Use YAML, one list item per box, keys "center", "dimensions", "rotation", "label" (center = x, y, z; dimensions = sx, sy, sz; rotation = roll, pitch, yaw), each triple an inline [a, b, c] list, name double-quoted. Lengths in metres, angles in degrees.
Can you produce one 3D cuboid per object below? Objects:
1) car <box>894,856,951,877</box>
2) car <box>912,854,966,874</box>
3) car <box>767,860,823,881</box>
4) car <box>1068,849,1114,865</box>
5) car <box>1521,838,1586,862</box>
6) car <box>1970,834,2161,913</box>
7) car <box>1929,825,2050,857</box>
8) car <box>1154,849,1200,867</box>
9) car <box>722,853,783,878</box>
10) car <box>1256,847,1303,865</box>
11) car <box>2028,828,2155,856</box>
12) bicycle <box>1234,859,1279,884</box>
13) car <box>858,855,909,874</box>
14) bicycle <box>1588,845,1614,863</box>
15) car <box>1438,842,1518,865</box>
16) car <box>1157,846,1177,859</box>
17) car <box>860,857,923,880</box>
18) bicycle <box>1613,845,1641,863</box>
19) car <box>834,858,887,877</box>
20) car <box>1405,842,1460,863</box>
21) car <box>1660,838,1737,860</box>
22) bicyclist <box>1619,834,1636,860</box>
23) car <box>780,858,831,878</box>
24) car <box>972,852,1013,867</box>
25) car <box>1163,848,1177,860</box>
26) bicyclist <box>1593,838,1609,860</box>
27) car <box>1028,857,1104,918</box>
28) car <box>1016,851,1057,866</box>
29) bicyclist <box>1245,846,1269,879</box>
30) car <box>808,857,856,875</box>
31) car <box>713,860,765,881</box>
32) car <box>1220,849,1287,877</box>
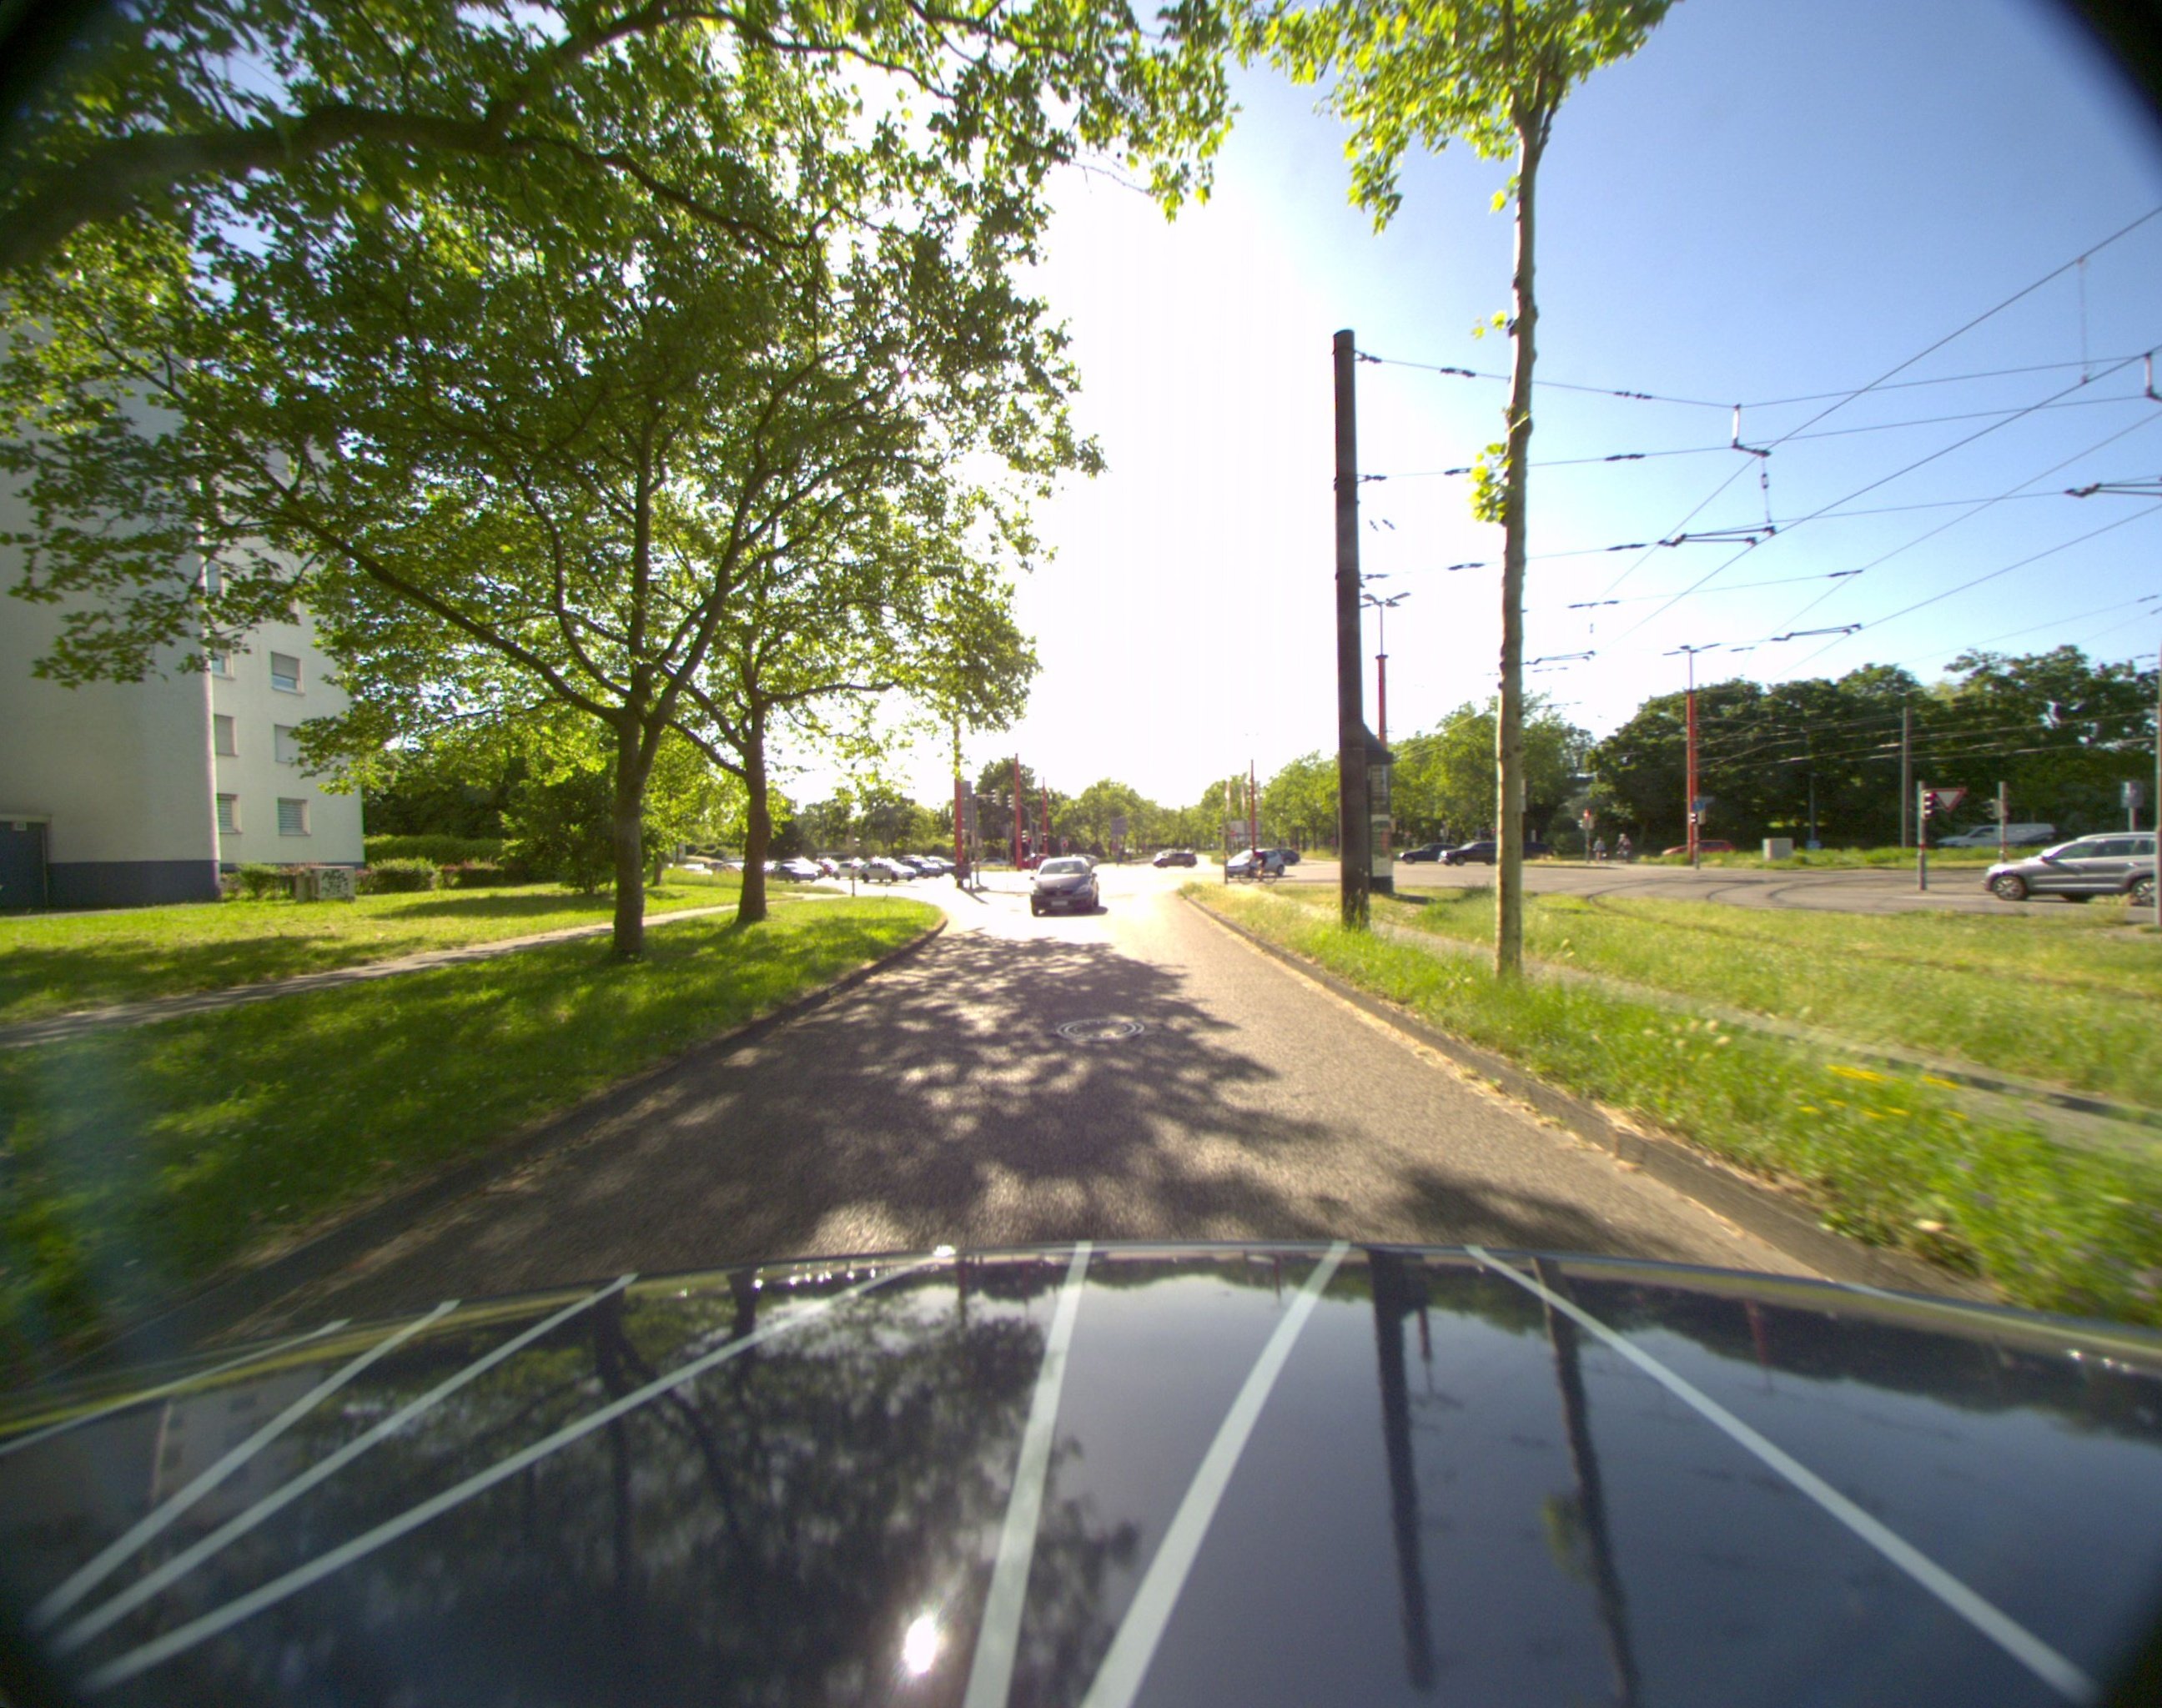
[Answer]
- center: [-12.185, 0.930, 58.272]
  dimensions: [3.989, 1.473, 1.803]
  rotation: [-1, 2, 29]
  label: "car"
- center: [-11.538, 0.826, 61.810]
  dimensions: [3.989, 1.473, 1.803]
  rotation: [-1, 2, 29]
  label: "car"
- center: [-22.097, 1.272, 58.702]
  dimensions: [3.989, 1.502, 1.803]
  rotation: [-1, 2, 29]
  label: "car"
- center: [1.007, 0.270, 76.761]
  dimensions: [4.236, 1.501, 1.803]
  rotation: [-1, 0, 26]
  label: "car"
- center: [34.406, -0.255, 55.446]
  dimensions: [3.989, 1.645, 1.803]
  rotation: [-1, 0, 30]
  label: "car"
- center: [24.157, 0.399, 17.757]
  dimensions: [1.798, 1.668, 4.267]
  rotation: [-1, 0, 1]
  label: "car"
- center: [56.859, -0.781, 47.665]
  dimensions: [4.545, 1.825, 1.803]
  rotation: [-1, 0, 27]
  label: "car"
- center: [8.623, 0.367, 67.967]
  dimensions: [3.777, 1.501, 1.616]
  rotation: [-1, 0, 23]
  label: "car"
- center: [-29.336, 1.023, 67.831]
  dimensions: [5.180, 2.075, 2.095]
  rotation: [-1, 2, 29]
  label: "car"
- center: [17.752, 0.201, 67.907]
  dimensions: [3.776, 1.497, 1.616]
  rotation: [-1, 0, 27]
  label: "car"
- center: [58.035, -0.658, 43.744]
  dimensions: [3.990, 1.501, 1.803]
  rotation: [-1, 0, 27]
  label: "car"
- center: [8.178, 0.837, 35.364]
  dimensions: [1.896, 1.101, 0.704]
  rotation: [-2, 1, 24]
  label: "bicycle"
- center: [-16.916, 0.928, 65.155]
  dimensions: [3.989, 1.502, 1.803]
  rotation: [-1, 2, 29]
  label: "car"
- center: [33.570, 0.001, 49.053]
  dimensions: [0.499, 1.101, 1.800]
  rotation: [-1, 1, 3]
  label: "bicycle"
- center: [27.592, -0.037, 52.919]
  dimensions: [4.621, 1.501, 1.790]
  rotation: [-1, 0, 4]
  label: "car"
- center: [9.975, -0.175, 88.088]
  dimensions: [1.797, 1.501, 4.003]
  rotation: [-1, 0, 12]
  label: "car"
- center: [-13.650, 1.066, 54.742]
  dimensions: [4.274, 1.473, 1.803]
  rotation: [-1, 2, 29]
  label: "car"
- center: [34.675, -0.020, 48.244]
  dimensions: [0.562, 1.101, 1.800]
  rotation: [-1, 1, 3]
  label: "bicycle"
- center: [-17.717, 1.115, 61.024]
  dimensions: [3.989, 1.384, 1.803]
  rotation: [-1, 2, 29]
  label: "car"
- center: [28.688, -0.110, 62.008]
  dimensions: [3.990, 1.645, 1.803]
  rotation: [-1, 0, 27]
  label: "car"
- center: [44.094, -0.362, 54.391]
  dimensions: [3.990, 1.501, 1.803]
  rotation: [-1, 0, 27]
  label: "car"
- center: [34.664, -0.452, 48.232]
  dimensions: [0.562, 1.642, 0.714]
  rotation: [-1, 1, 3]
  label: "bicyclist"
- center: [-23.203, 1.191, 63.941]
  dimensions: [3.989, 1.497, 1.803]
  rotation: [-1, 2, 29]
  label: "car"
- center: [-10.302, 0.635, 88.653]
  dimensions: [4.638, 1.501, 1.798]
  rotation: [-2, 1, -9]
  label: "car"
- center: [12.215, 0.022, 104.144]
  dimensions: [1.797, 1.501, 4.002]
  rotation: [-1, 1, 9]
  label: "car"
- center: [33.561, -0.330, 49.046]
  dimensions: [0.499, 1.439, 0.778]
  rotation: [-1, 1, 3]
  label: "bicyclist"
- center: [-0.360, 0.932, 22.859]
  dimensions: [1.798, 1.580, 3.764]
  rotation: [-2, 0, 5]
  label: "car"
- center: [-4.332, 0.450, 74.450]
  dimensions: [3.662, 1.450, 1.592]
  rotation: [-1, 1, 26]
  label: "car"
- center: [8.191, 0.401, 35.341]
  dimensions: [0.955, 1.469, 0.704]
  rotation: [-1, 1, 24]
  label: "bicyclist"
- center: [-22.142, 1.071, 67.545]
  dimensions: [3.989, 1.473, 1.803]
  rotation: [-1, 2, 29]
  label: "car"
- center: [-27.989, 1.382, 62.145]
  dimensions: [3.989, 1.576, 1.803]
  rotation: [-1, 2, 29]
  label: "car"
- center: [10.356, 0.541, 45.534]
  dimensions: [3.911, 1.579, 1.701]
  rotation: [-1, 0, -33]
  label: "car"
